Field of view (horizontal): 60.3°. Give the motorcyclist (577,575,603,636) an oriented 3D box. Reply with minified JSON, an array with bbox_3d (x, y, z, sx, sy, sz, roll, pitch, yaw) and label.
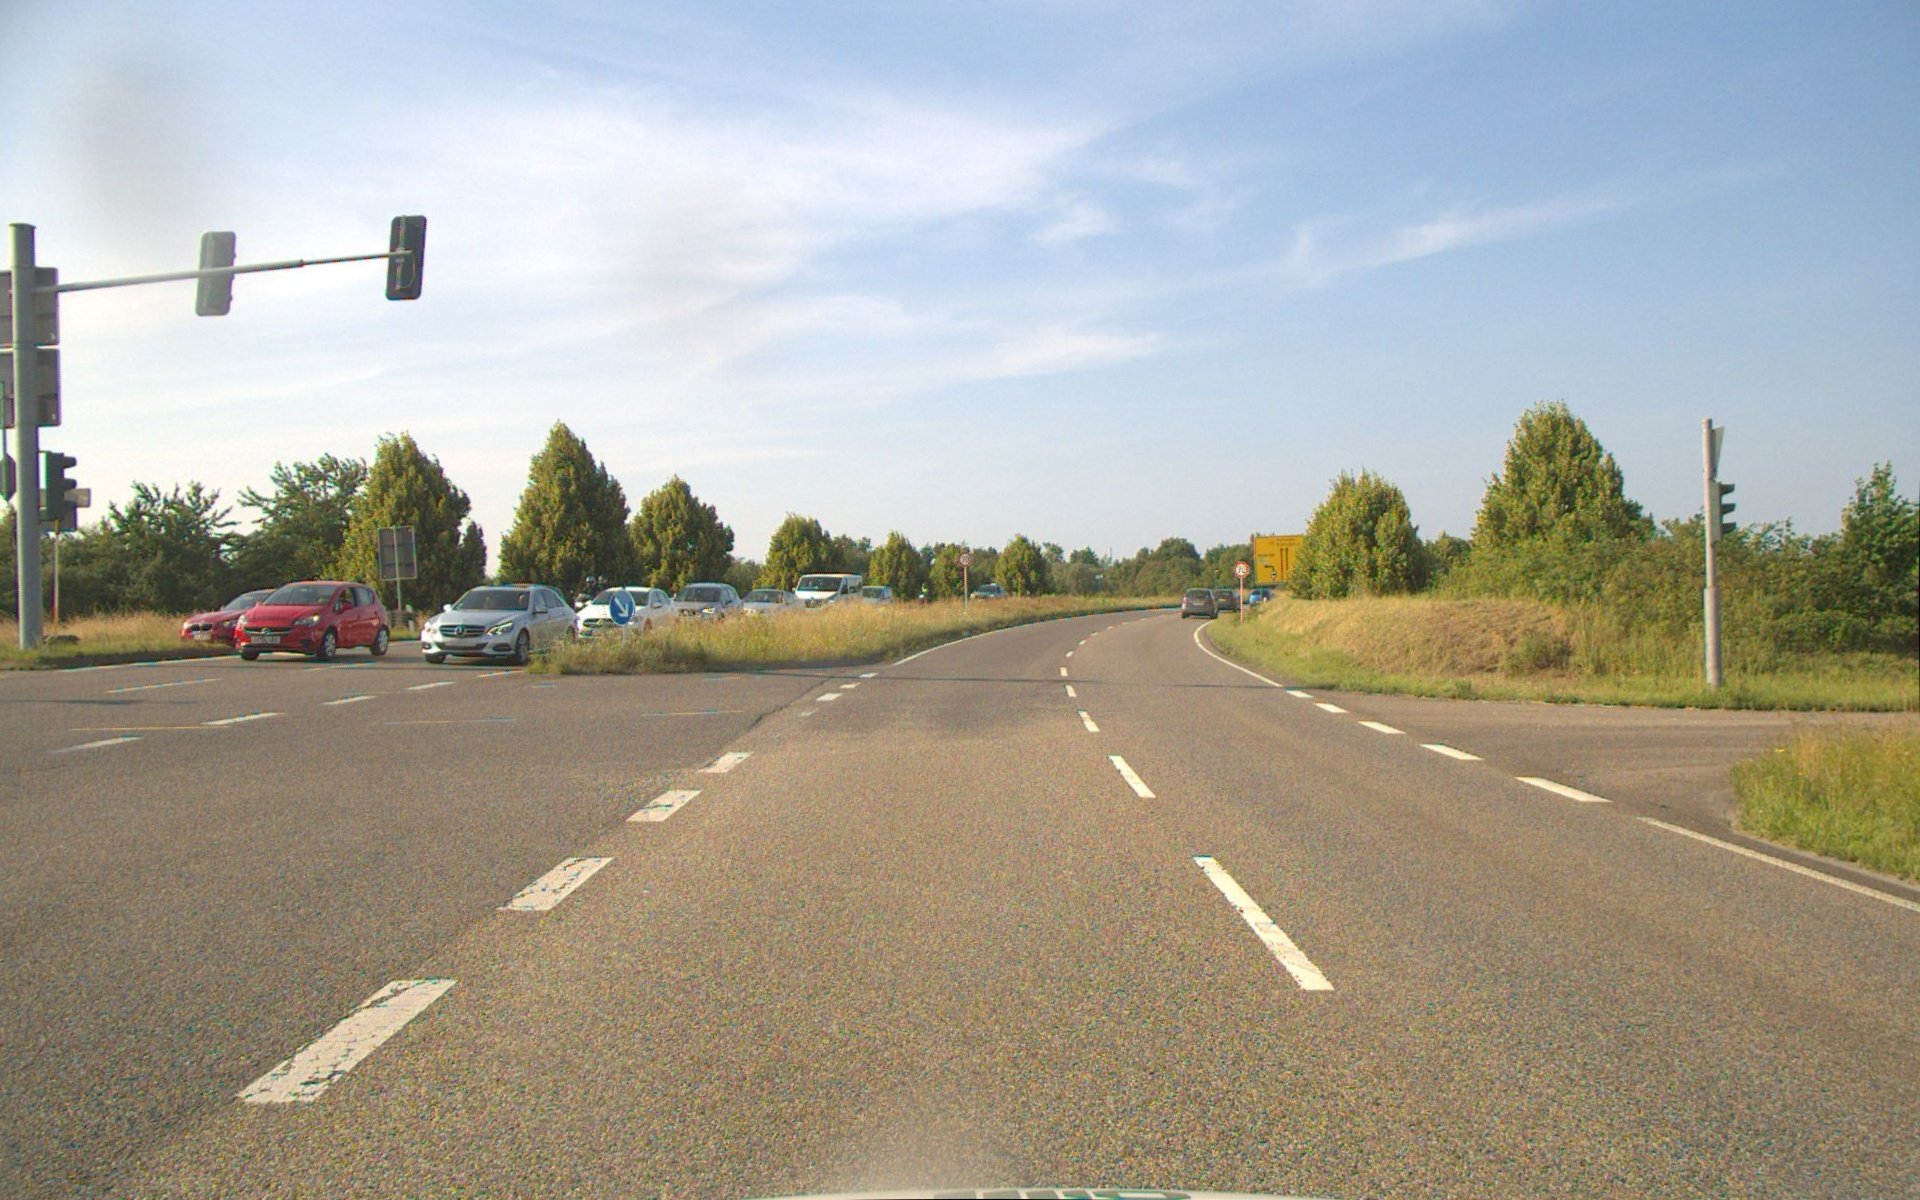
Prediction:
[{"bbox_3d":[-10.981,0.161,49.048,0.649,1.778,0.605,0,0,-4],"label":"motorcyclist"}]

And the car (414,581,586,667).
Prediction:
[{"bbox_3d":[-8.756,0.427,31.900,1.748,1.514,4.653,-1,0,4],"label":"car"}]

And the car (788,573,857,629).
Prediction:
[{"bbox_3d":[-5.346,0.039,64.873,1.884,2.114,4.246,-1,0,7],"label":"car"}]

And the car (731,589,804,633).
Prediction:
[{"bbox_3d":[-6.413,0.356,55.494,1.748,1.410,4.053,-1,0,3],"label":"car"}]

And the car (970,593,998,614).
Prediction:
[{"bbox_3d":[1.665,0.215,113.341,1.375,1.426,3.425,-1,0,11],"label":"car"}]

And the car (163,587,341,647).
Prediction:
[{"bbox_3d":[-16.777,0.371,39.410,1.624,1.350,4.216,0,0,16],"label":"car"}]

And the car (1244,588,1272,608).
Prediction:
[{"bbox_3d":[22.677,-0.140,125.718,1.735,1.518,3.988,0,0,15],"label":"car"}]

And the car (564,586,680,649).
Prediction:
[{"bbox_3d":[-8.328,0.402,41.098,1.748,1.458,4.311,-1,0,3],"label":"car"}]

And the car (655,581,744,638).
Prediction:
[{"bbox_3d":[-7.673,0.264,49.097,1.748,1.596,4.053,-1,0,3],"label":"car"}]

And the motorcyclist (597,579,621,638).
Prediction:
[{"bbox_3d":[-11.071,0.270,52.236,0.649,1.849,0.605,0,0,-4],"label":"motorcyclist"}]

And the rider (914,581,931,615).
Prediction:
[{"bbox_3d":[-2.289,-0.130,101.168,0.849,2.049,0.772,0,0,15],"label":"rider"}]

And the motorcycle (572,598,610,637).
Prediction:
[{"bbox_3d":[-10.931,0.505,48.985,0.855,1.116,1.468,0,0,-3],"label":"motorcycle"}]

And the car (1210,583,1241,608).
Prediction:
[{"bbox_3d":[17.417,-0.305,108.350,1.771,1.593,4.535,0,0,12],"label":"car"}]

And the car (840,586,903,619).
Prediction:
[{"bbox_3d":[-3.877,0.116,73.109,1.748,1.410,4.055,-1,0,13],"label":"car"}]

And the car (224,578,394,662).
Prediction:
[{"bbox_3d":[-12.508,0.362,32.020,1.685,1.514,3.805,-1,0,1],"label":"car"}]

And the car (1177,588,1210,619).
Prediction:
[{"bbox_3d":[12.605,0.207,89.341,1.746,1.633,4.199,0,-1,8],"label":"car"}]
